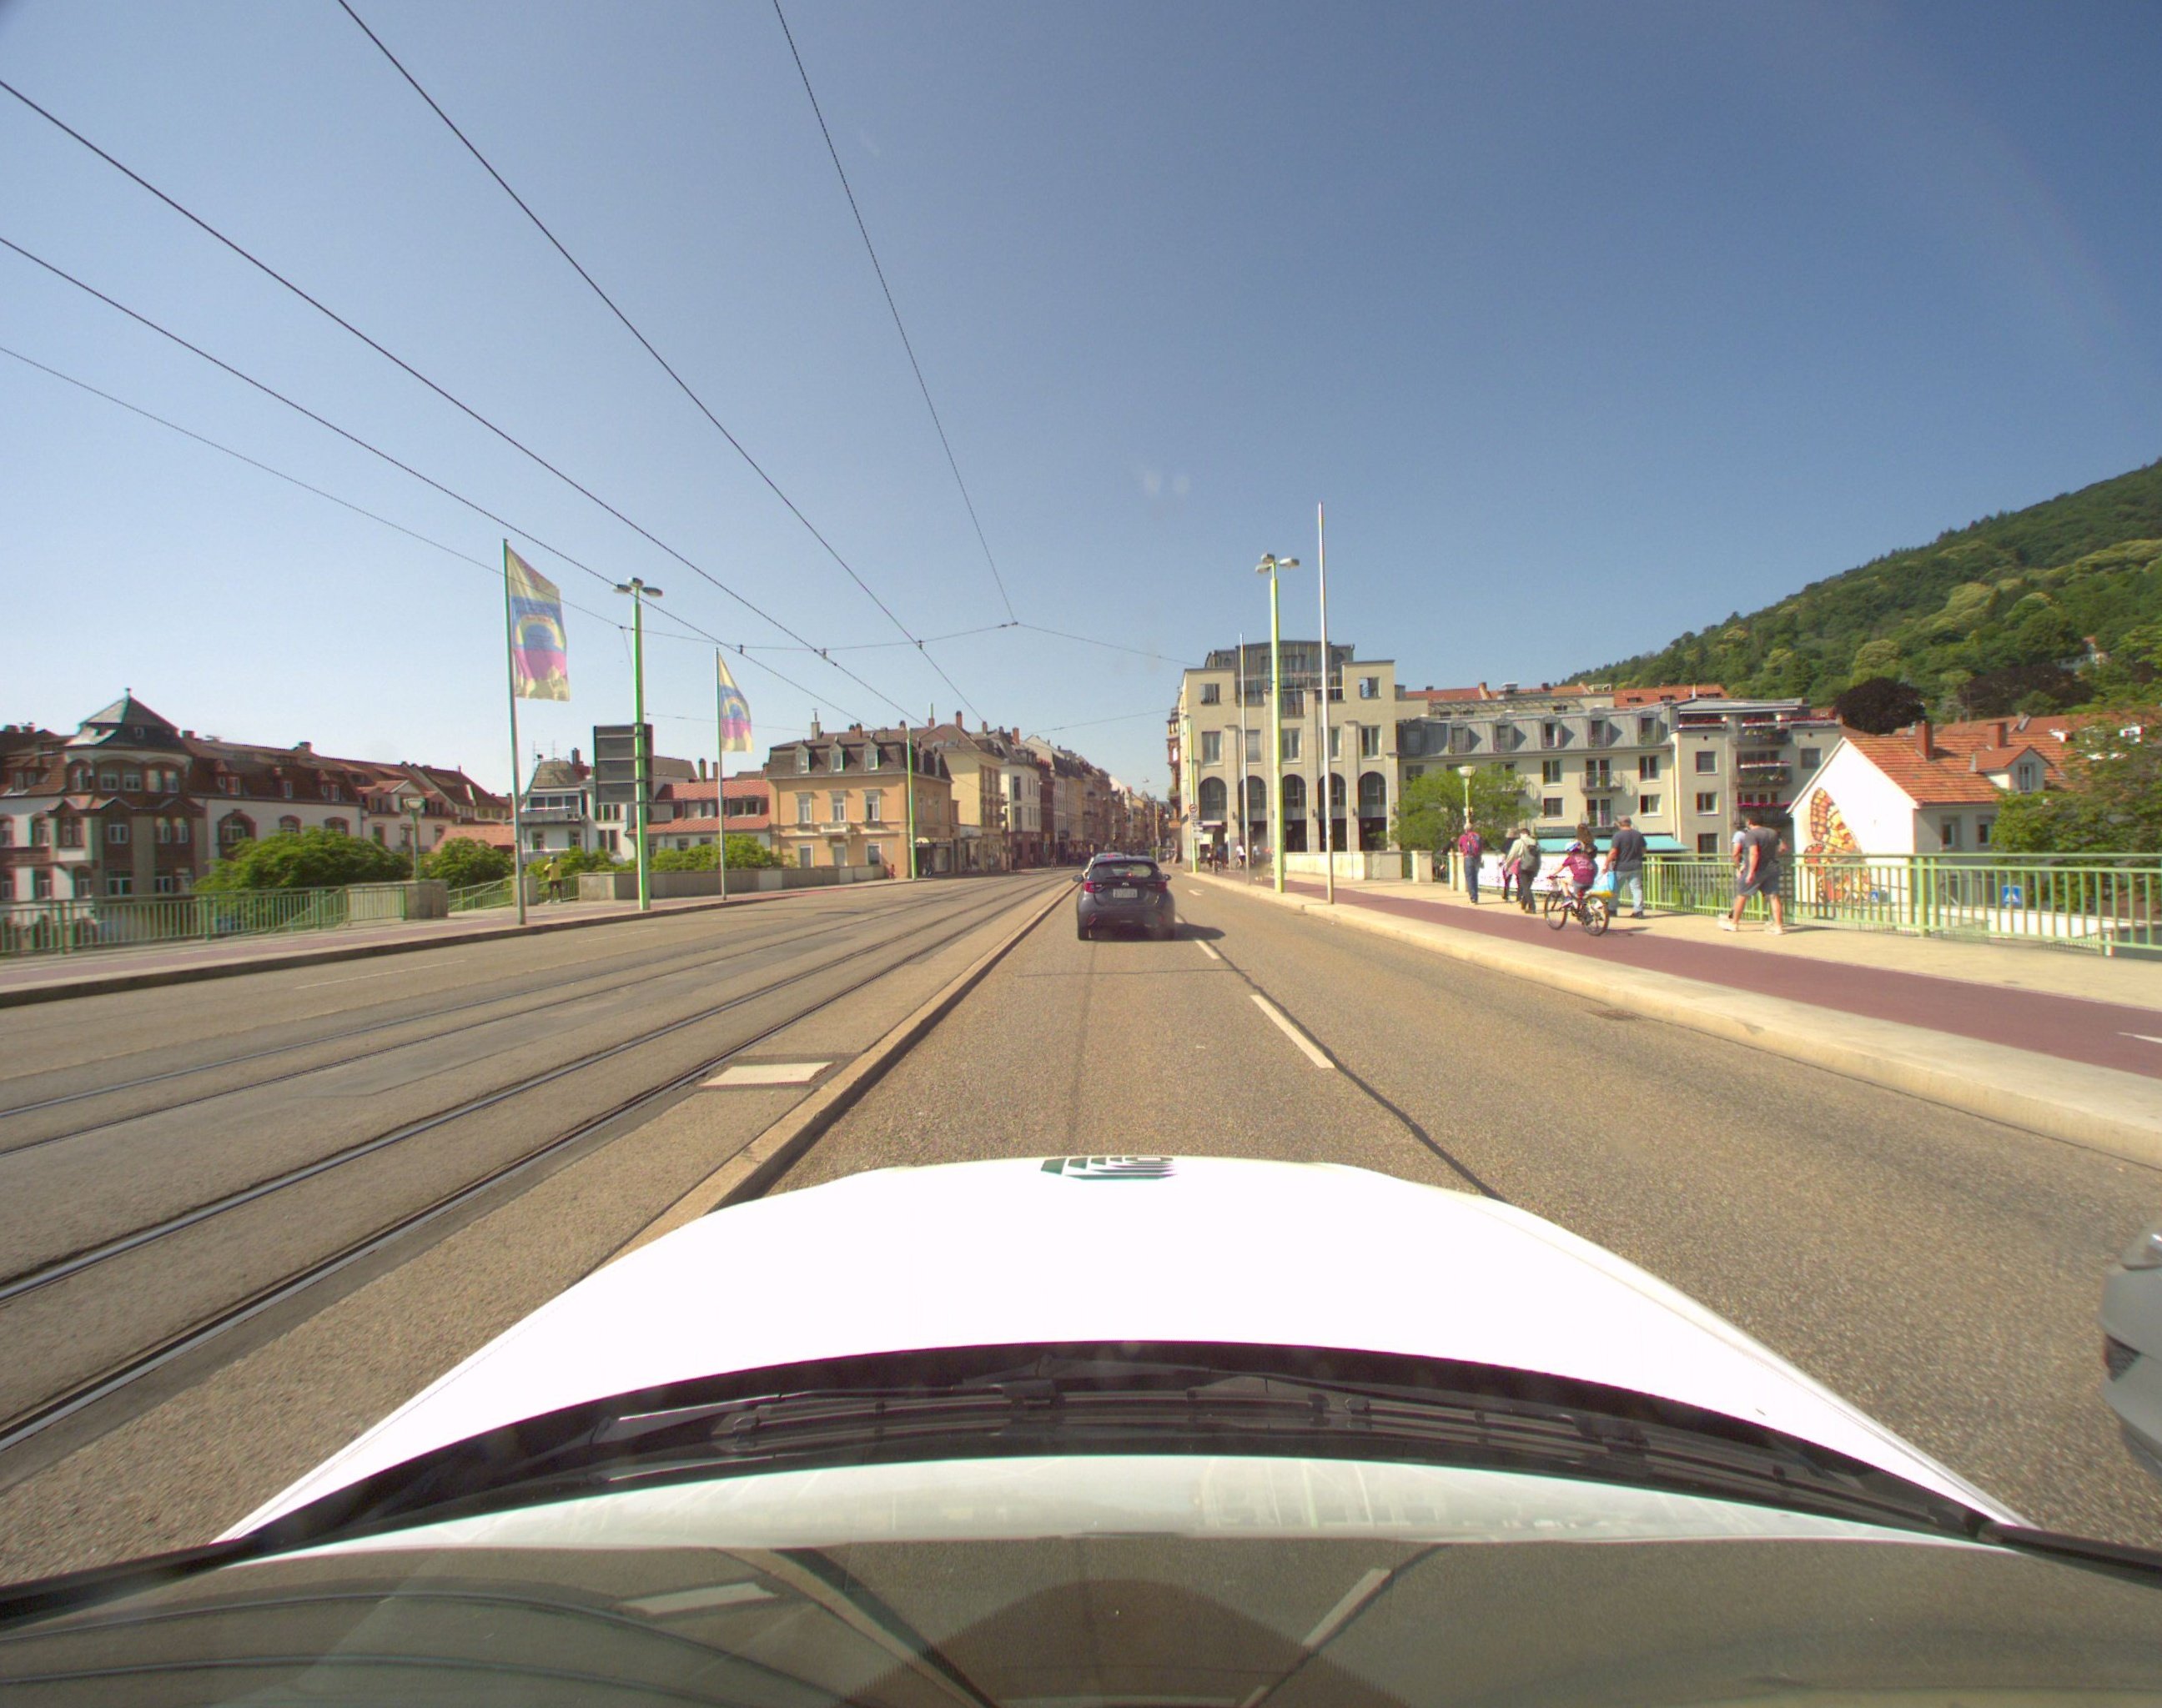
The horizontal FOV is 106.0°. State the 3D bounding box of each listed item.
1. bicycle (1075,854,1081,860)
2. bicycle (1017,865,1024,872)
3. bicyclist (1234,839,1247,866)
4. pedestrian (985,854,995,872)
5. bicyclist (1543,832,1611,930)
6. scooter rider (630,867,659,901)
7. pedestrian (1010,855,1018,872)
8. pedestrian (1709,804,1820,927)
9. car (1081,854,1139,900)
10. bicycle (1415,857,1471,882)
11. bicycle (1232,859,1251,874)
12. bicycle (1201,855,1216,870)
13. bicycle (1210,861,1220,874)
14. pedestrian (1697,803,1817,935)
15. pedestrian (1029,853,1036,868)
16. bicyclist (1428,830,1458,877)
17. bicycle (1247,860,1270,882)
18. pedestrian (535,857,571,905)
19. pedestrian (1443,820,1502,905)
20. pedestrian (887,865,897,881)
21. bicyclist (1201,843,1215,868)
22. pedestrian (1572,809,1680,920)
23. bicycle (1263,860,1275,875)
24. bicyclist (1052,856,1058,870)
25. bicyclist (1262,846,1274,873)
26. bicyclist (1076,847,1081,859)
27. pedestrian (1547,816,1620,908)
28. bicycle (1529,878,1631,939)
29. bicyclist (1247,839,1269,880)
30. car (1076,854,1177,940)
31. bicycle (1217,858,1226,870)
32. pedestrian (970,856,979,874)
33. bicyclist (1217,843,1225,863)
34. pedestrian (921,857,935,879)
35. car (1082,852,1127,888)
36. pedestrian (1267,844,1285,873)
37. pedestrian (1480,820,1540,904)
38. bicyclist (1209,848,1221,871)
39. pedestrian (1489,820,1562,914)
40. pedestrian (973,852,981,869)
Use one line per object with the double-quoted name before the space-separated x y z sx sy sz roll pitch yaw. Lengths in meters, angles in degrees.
"bicycle" -0.412 0.427 110.042 0.618 0.716 1.732 0 1 2
"bicycle" -6.670 1.596 89.832 0.618 0.716 1.772 -1 1 2
"bicyclist" 8.862 -0.094 45.271 0.487 1.466 0.438 -3 -1 -37
"pedestrian" -8.933 0.894 79.720 0.733 1.766 0.787 3 0 2
"bicyclist" 7.297 0.387 12.012 0.532 1.383 0.669 -3 0 2
"scooter rider" -17.710 1.200 33.022 0.763 1.315 0.600 2 0 13
"pedestrian" -7.368 1.034 89.782 0.733 1.766 0.787 -1 1 2
"pedestrian" 10.150 0.165 12.133 0.736 1.718 1.016 -2 0 2
"car" 1.021 0.762 28.851 1.890 1.530 4.002 0 0 2
"bicycle" 13.400 0.562 30.214 1.807 0.882 0.804 0 0 17
"bicycle" 8.910 0.696 45.264 0.419 0.765 0.951 -3 0 -37
"bicycle" 12.997 0.864 83.366 1.108 1.420 3.007 0 0 1
"bicycle" 7.933 0.800 48.183 0.414 0.765 1.207 -3 0 4
"pedestrian" 9.363 0.200 11.322 0.736 1.718 1.016 -3 0 2
"pedestrian" -6.068 0.792 101.442 0.733 1.766 0.787 -1 1 2
"bicyclist" 13.426 -0.021 30.208 0.914 1.695 1.148 0 0 18
"bicycle" 7.645 0.702 35.066 0.701 0.882 1.526 -3 0 3
"pedestrian" -20.357 1.029 31.409 0.740 1.781 0.804 -2 0 12
"pedestrian" 8.704 0.190 18.149 0.736 1.802 1.016 -3 0 2
"pedestrian" -13.457 1.347 57.973 0.409 1.146 0.546 3 0 8
"bicyclist" 12.975 0.112 83.253 1.223 2.529 1.105 0 0 2
"pedestrian" 9.291 0.170 13.951 0.974 1.777 1.208 -3 0 1
"bicycle" 9.823 0.692 42.654 0.415 0.765 0.962 -3 0 2
"bicyclist" -3.118 1.037 96.643 0.625 1.650 0.622 0 1 2
"bicyclist" 9.795 0.305 42.669 0.420 1.383 0.444 -3 0 2
"bicyclist" -0.391 -0.102 110.031 0.625 1.650 0.622 0 1 2
"pedestrian" 9.994 0.154 16.231 0.736 1.746 1.016 -3 0 2
"bicycle" 7.321 0.769 12.043 0.512 0.765 1.661 -3 0 2
"bicyclist" 7.633 0.237 35.132 0.699 1.695 0.925 -2 0 2
"car" 0.841 0.736 15.780 1.713 1.473 3.659 0 0 2
"bicycle" 8.880 0.634 51.442 0.414 0.765 0.963 -3 0 5
"pedestrian" -9.846 0.993 75.129 0.646 1.602 0.566 3 2 2
"bicyclist" 8.841 -0.057 51.463 0.420 1.256 0.444 -3 0 5
"pedestrian" -11.630 1.042 62.014 0.758 1.654 0.713 3 0 8
"car" 1.076 0.699 37.044 1.890 1.530 4.002 0 0 2
"pedestrian" 10.978 0.242 45.929 0.736 1.615 1.016 3 0 2
"pedestrian" 9.594 0.174 18.235 0.736 1.777 1.016 -3 0 2
"bicyclist" 7.918 0.339 48.193 0.536 1.316 0.672 -3 0 4
"pedestrian" 8.587 0.239 15.770 0.752 1.718 1.073 -3 0 2
"pedestrian" -10.277 0.661 80.367 0.646 1.602 0.566 3 2 2
